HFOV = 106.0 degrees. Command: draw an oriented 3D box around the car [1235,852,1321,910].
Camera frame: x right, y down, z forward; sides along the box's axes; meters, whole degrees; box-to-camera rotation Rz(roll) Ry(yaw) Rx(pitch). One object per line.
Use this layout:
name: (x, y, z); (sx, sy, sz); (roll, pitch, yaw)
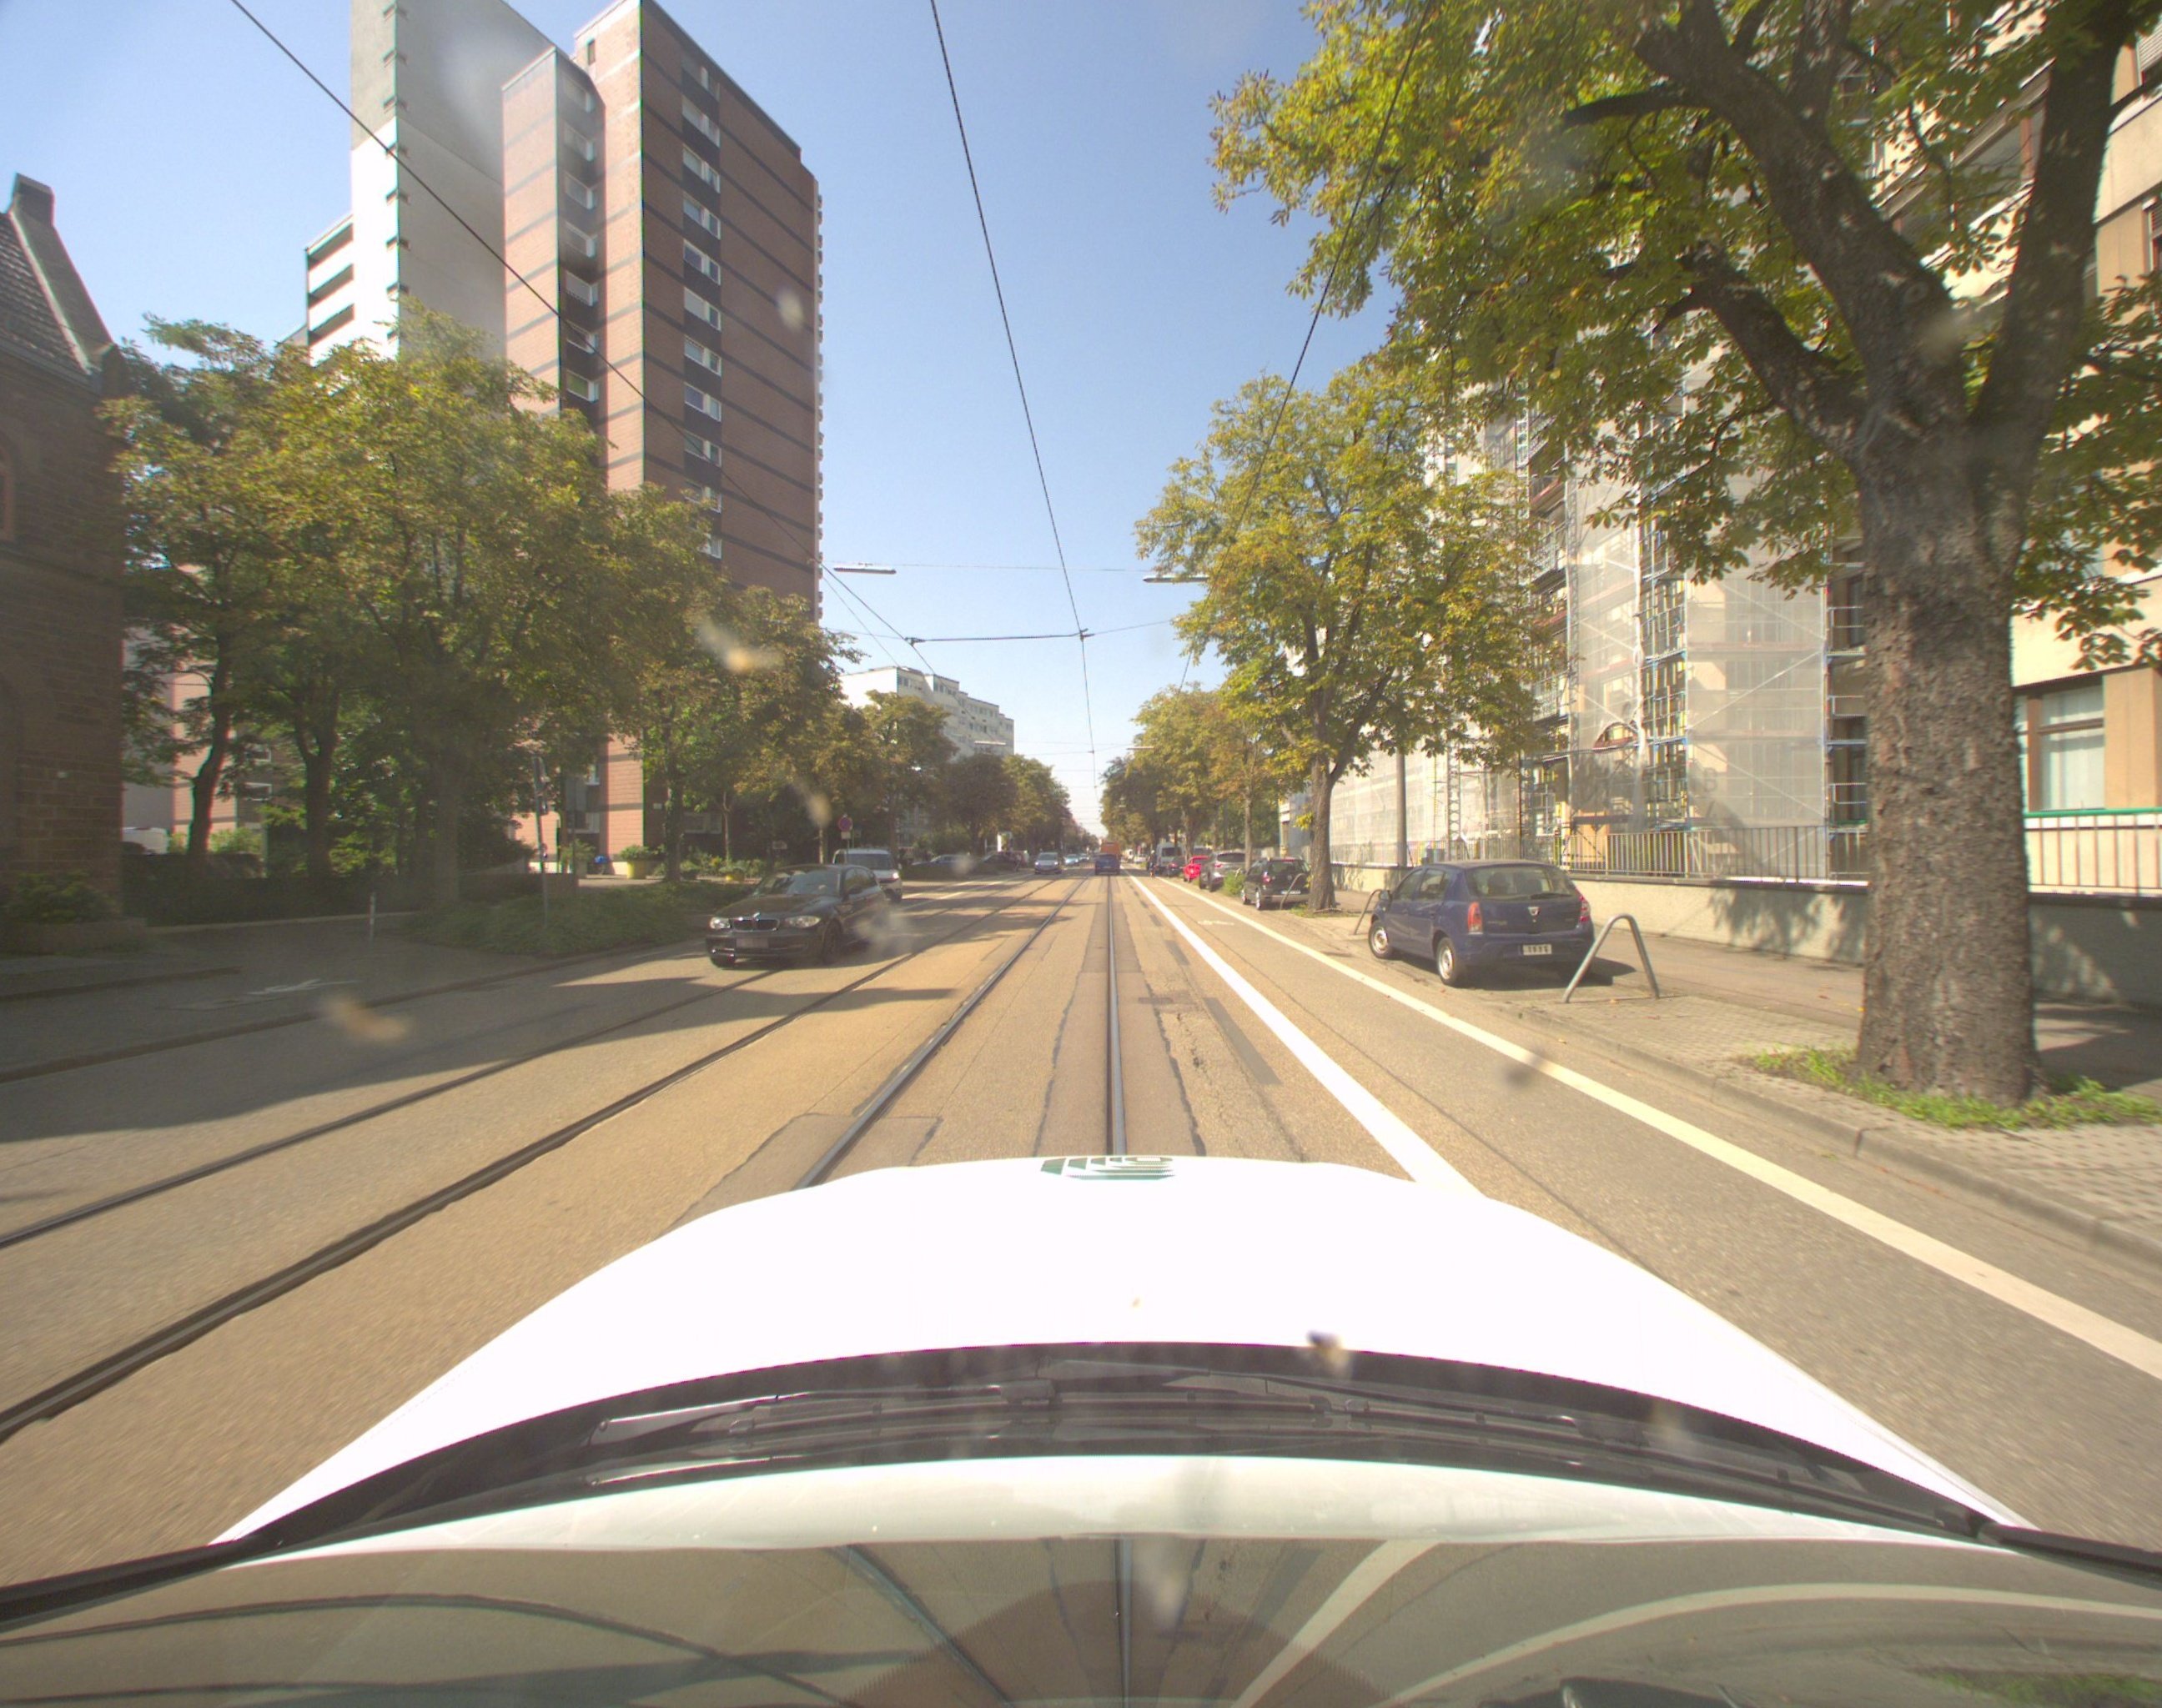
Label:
car: (5.779, 0.739, 24.334); (1.628, 1.585, 4.189); (0, 0, 1)

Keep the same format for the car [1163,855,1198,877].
car: (6.669, 0.773, 54.950); (1.901, 1.431, 4.293); (0, 0, 1)

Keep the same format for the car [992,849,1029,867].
car: (-8.175, 0.457, 95.224); (4.021, 2.013, 1.835); (0, 0, -41)

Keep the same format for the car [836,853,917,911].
car: (-6.956, 0.873, 27.424); (1.757, 1.796, 3.964); (0, 0, -28)

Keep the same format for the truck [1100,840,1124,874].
truck: (2.960, 0.250, 78.091); (2.127, 3.124, 6.088); (-1, 0, 2)

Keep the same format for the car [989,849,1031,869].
car: (-7.372, 0.496, 84.525); (4.021, 2.013, 1.835); (0, 0, -41)

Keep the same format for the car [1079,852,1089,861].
car: (0.567, 0.474, 155.024); (1.892, 1.562, 4.123); (0, 0, 1)

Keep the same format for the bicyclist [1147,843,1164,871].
bicyclist: (4.729, 0.188, 51.887); (1.028, 1.812, 1.017); (0, 0, 1)

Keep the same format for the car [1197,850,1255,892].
car: (6.059, 0.663, 34.429); (1.734, 1.668, 4.362); (0, 0, 1)

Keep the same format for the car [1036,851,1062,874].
car: (-2.410, 0.644, 62.078); (1.774, 1.684, 4.348); (0, 0, 1)

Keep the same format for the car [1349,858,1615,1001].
car: (5.182, 0.860, 11.240); (1.736, 1.556, 4.219); (-1, 0, 2)

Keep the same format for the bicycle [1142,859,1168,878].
bicycle: (4.694, 0.873, 51.905); (1.396, 1.134, 4.002); (0, 0, 2)

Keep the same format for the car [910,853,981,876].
car: (-9.421, 0.724, 56.742); (4.587, 1.552, 1.985); (0, 0, -22)

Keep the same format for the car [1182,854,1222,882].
car: (6.621, 0.731, 44.804); (1.734, 1.462, 3.685); (0, 0, 1)

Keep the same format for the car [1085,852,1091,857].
car: (2.256, 0.140, 248.664); (1.741, 1.796, 4.001); (0, 0, 1)

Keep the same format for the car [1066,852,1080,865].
car: (-0.982, 0.558, 101.293); (1.628, 1.585, 4.189); (0, 0, 1)

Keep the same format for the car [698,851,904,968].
car: (-4.232, 0.744, 13.081); (1.674, 1.571, 4.209); (0, 0, 3)

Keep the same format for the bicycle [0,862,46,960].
bicycle: (-13.176, 0.634, 9.540); (1.447, 1.093, 0.399); (3, 0, -3)

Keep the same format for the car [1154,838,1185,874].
car: (7.044, 0.140, 65.543); (1.986, 2.755, 5.762); (0, 0, 1)

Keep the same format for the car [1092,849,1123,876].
car: (1.974, 0.567, 59.425); (2.127, 1.858, 5.571); (-1, 0, 2)
